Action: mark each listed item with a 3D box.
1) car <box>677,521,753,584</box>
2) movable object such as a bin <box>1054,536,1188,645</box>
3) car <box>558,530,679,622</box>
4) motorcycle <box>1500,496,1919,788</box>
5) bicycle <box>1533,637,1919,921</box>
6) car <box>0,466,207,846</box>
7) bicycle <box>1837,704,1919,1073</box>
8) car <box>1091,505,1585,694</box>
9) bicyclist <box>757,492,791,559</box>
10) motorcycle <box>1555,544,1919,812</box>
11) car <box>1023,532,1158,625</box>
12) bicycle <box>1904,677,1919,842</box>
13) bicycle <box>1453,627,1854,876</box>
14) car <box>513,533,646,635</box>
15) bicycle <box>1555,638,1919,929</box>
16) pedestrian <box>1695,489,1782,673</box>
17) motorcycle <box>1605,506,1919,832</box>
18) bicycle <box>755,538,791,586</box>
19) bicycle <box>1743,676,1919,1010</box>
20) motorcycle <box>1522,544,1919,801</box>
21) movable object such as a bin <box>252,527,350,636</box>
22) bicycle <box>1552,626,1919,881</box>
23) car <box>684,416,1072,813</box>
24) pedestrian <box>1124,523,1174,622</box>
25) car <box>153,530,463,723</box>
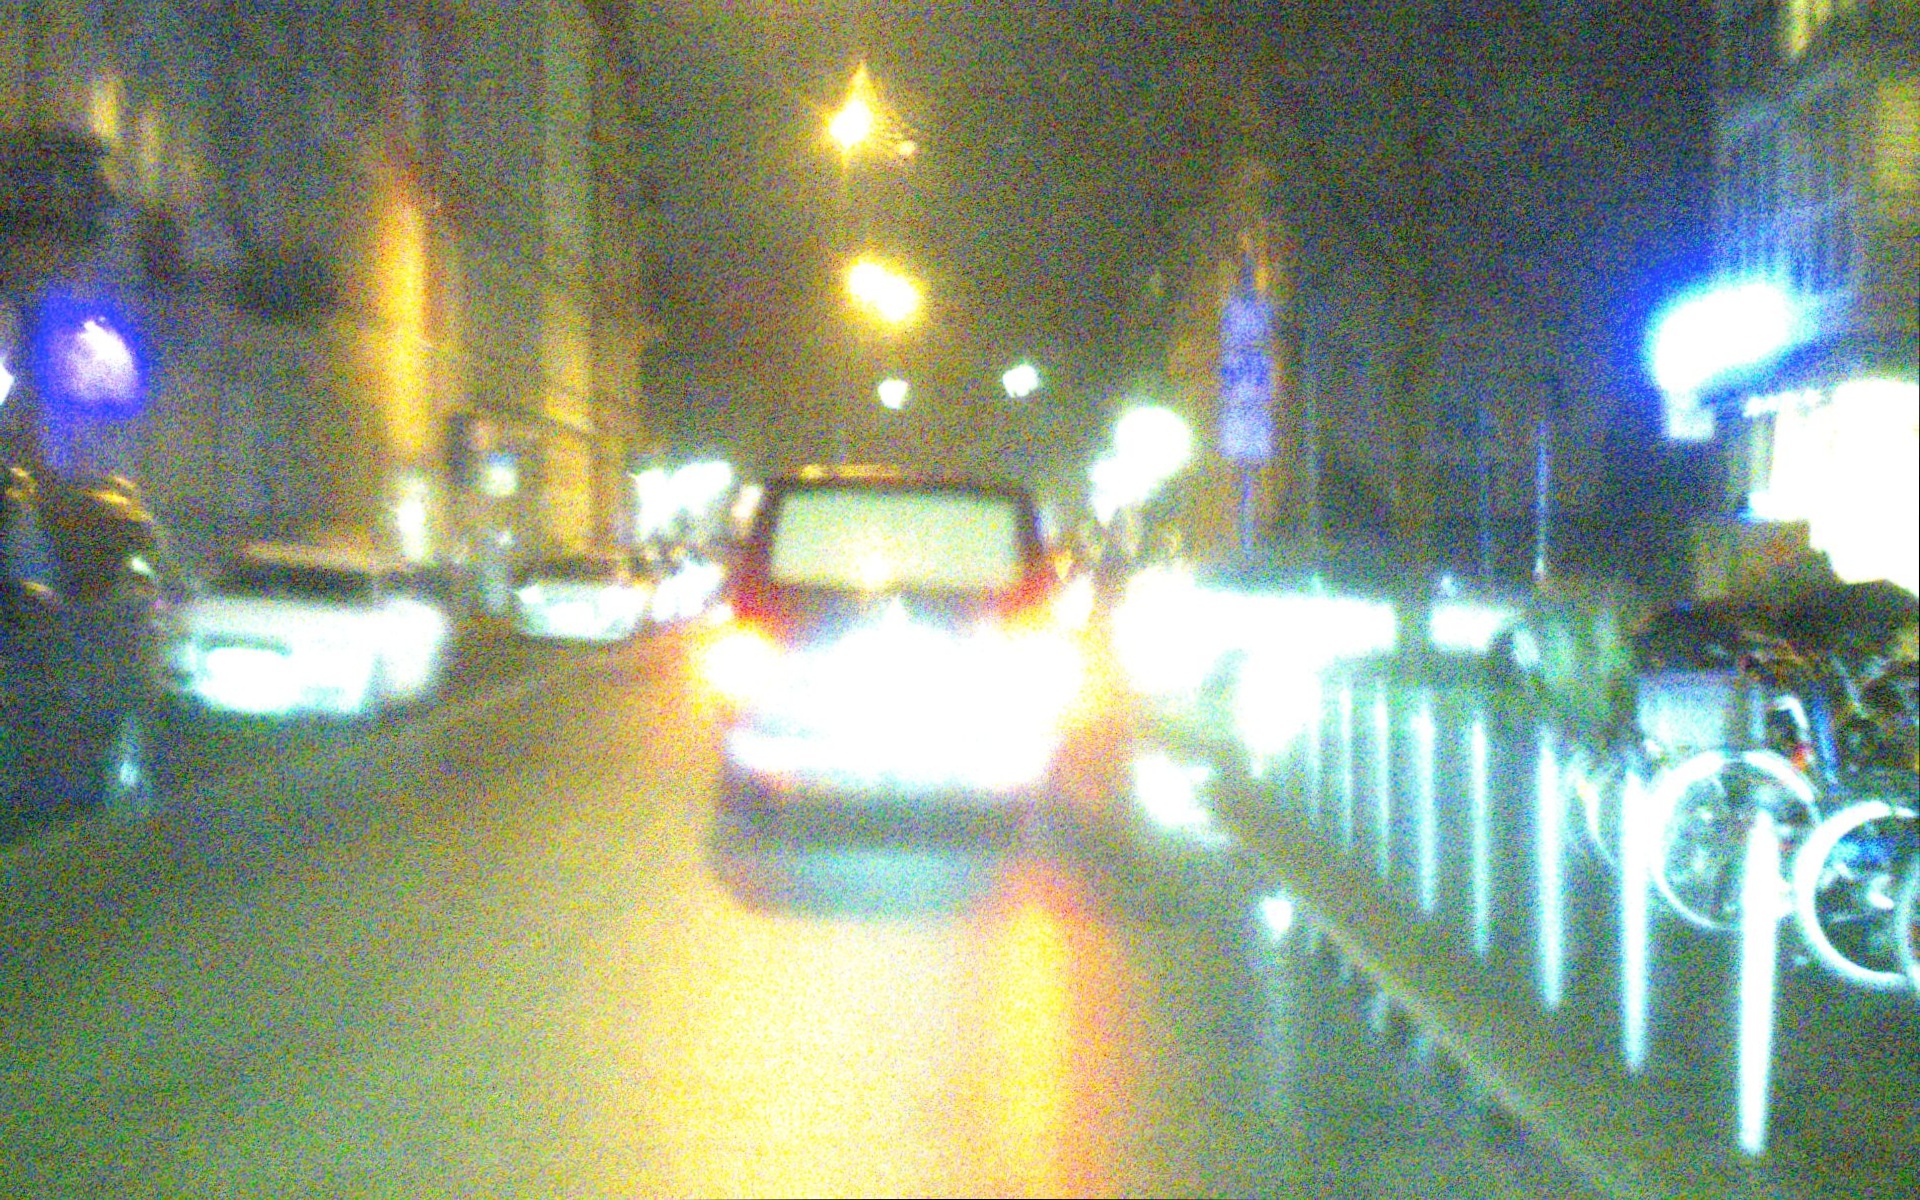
[{"bbox_3d":[-6.853,-1.354,96.600,1.832,1.711,4.595,0,1,-1],"label":"car"},{"bbox_3d":[2.149,-0.144,45.901,1.337,1.424,1.201,-1,1,-37],"label":"movable object such as a bin"},{"bbox_3d":[-5.997,-0.459,60.708,1.774,1.567,4.135,0,1,-1],"label":"car"},{"bbox_3d":[4.557,0.244,20.958,2.288,1.582,0.867,-4,1,-1],"label":"motorcycle"},{"bbox_3d":[3.110,0.699,13.622,1.528,0.949,0.366,-6,0,-4],"label":"bicycle"},{"bbox_3d":[-5.600,0.220,18.407,1.996,1.823,5.207,0,1,0],"label":"car"},{"bbox_3d":[3.412,0.765,10.018,1.528,1.020,0.366,-6,0,-1],"label":"bicycle"},{"bbox_3d":[3.621,-0.026,33.474,4.512,1.525,1.780,-3,1,-1],"label":"car"},{"bbox_3d":[-4.336,-1.736,80.162,0.718,1.551,0.895,-1,1,-1],"label":"bicyclist"},{"bbox_3d":[4.511,0.412,19.084,2.172,1.314,0.867,-4,1,-1],"label":"motorcycle"},{"bbox_3d":[2.104,-0.381,56.437,1.993,1.459,4.417,0,1,-1],"label":"car"},{"bbox_3d":[3.186,0.718,8.434,1.528,1.198,0.366,-6,0,2],"label":"bicycle"},{"bbox_3d":[3.113,0.681,15.515,1.670,0.949,0.366,-6,0,7],"label":"bicycle"},{"bbox_3d":[-5.870,-0.274,53.338,1.672,1.486,3.722,1,1,-1],"label":"car"},{"bbox_3d":[3.125,0.691,13.193,1.528,0.949,0.366,-6,0,-4],"label":"bicycle"},{"bbox_3d":[7.739,-0.198,34.191,0.703,1.782,0.624,-2,2,3],"label":"pedestrian"},{"bbox_3d":[4.552,0.318,17.747,2.172,1.542,0.867,-4,1,-1],"label":"motorcycle"},{"bbox_3d":[-4.356,-0.895,80.191,0.727,1.069,2.348,-1,1,-1],"label":"bicycle"},{"bbox_3d":[3.430,0.749,11.324,1.529,1.020,0.366,-6,0,4],"label":"bicycle"},{"bbox_3d":[4.476,0.407,20.017,2.172,1.314,0.867,-4,1,-1],"label":"motorcycle"},{"bbox_3d":[-8.988,-0.269,46.971,1.101,1.449,1.379,-1,1,-2],"label":"movable object such as a bin"},{"bbox_3d":[3.404,0.666,14.961,1.529,0.949,0.366,-6,0,7],"label":"bicycle"},{"bbox_3d":[-0.425,0.018,20.034,1.996,2.042,4.694,0,1,0],"label":"car"},{"bbox_3d":[3.509,-0.519,63.994,0.862,1.782,1.083,-2,2,3],"label":"pedestrian"},{"bbox_3d":[-5.717,0.168,30.702,1.767,1.478,4.772,3,1,0],"label":"car"}]
